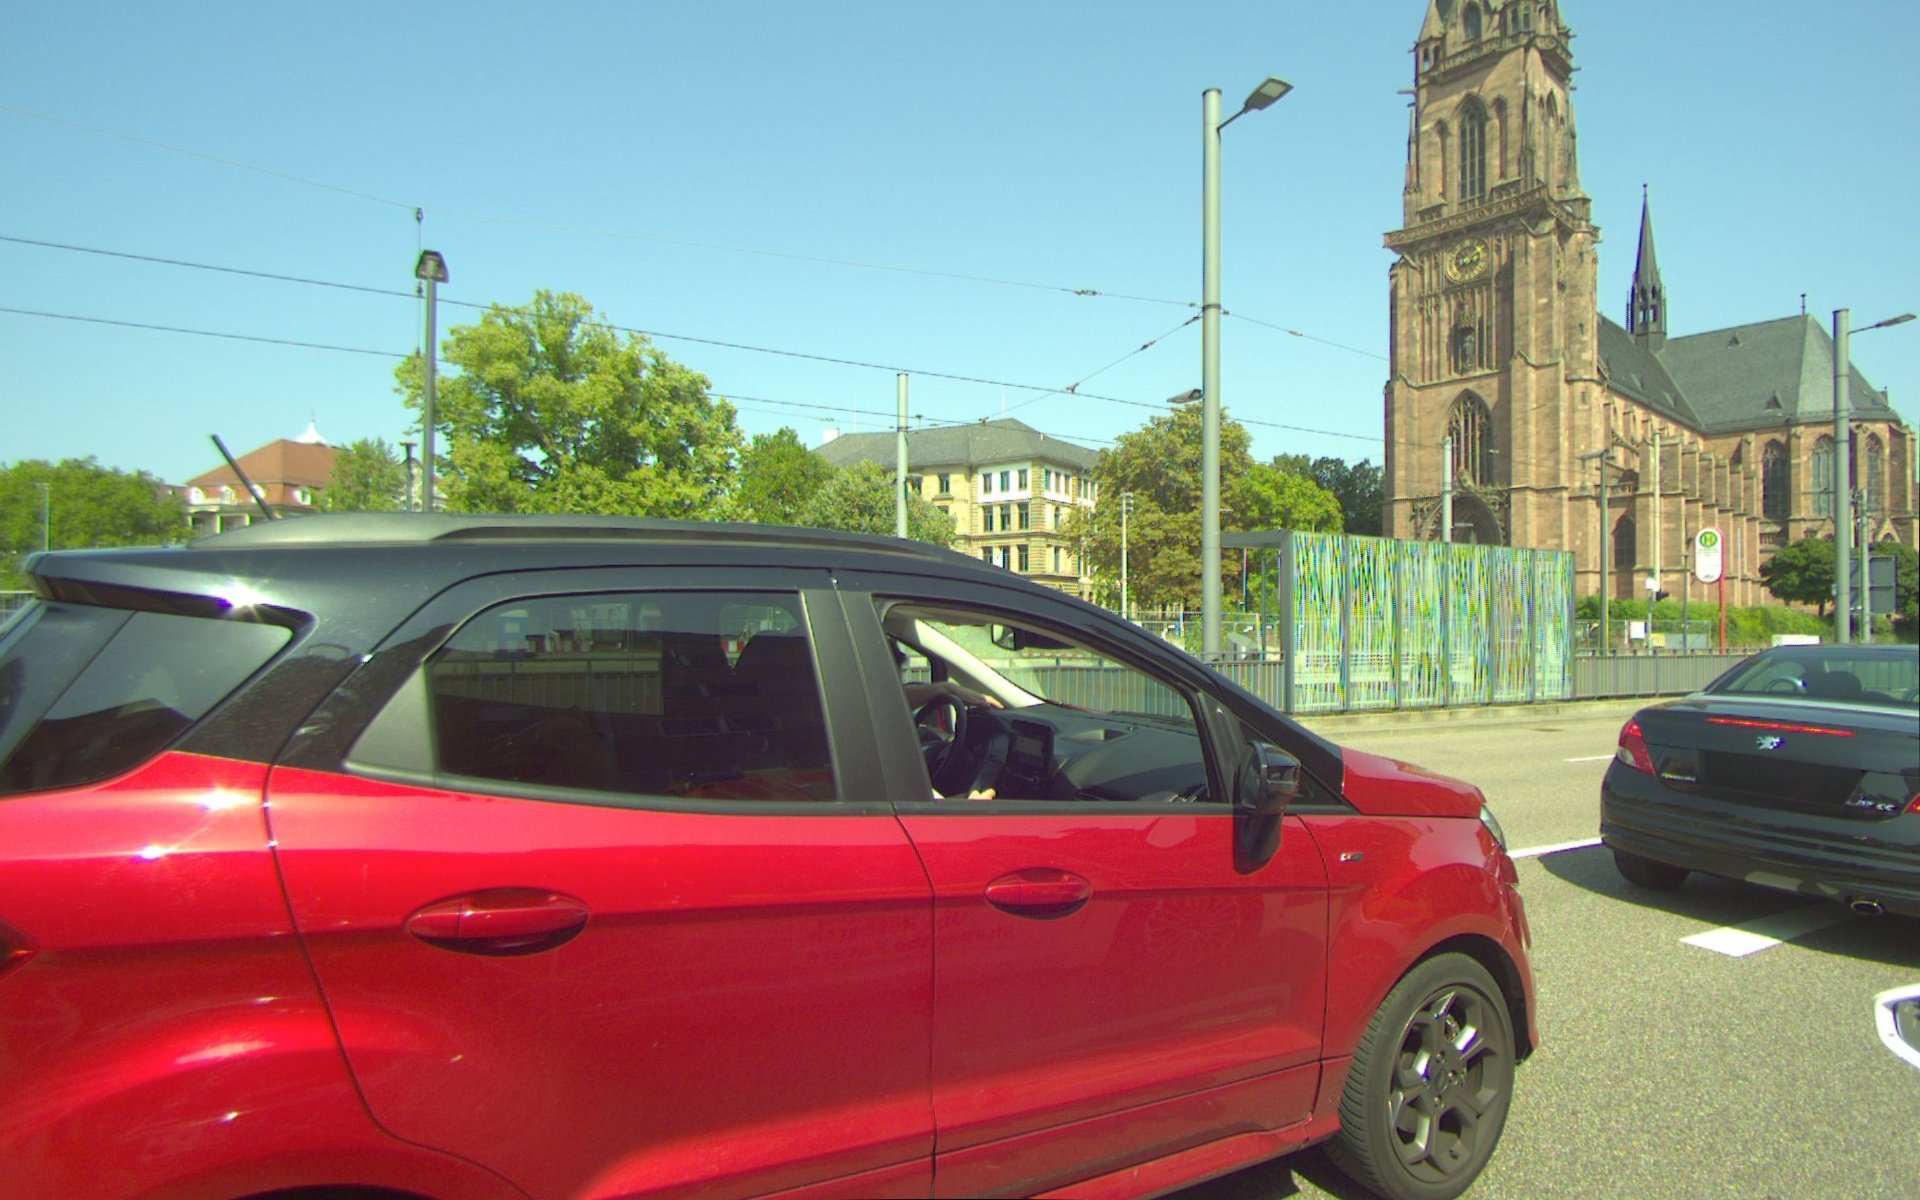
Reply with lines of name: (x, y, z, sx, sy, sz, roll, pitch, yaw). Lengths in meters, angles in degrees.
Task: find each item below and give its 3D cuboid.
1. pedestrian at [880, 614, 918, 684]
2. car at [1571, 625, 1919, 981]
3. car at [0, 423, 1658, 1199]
pedestrian: (-1.611, 1.275, 26.547, 0.752, 1.811, 0.740, 1, -1, -29)
car: (5.320, 0.892, 5.595, 3.756, 1.432, 1.680, 1, 0, -30)
car: (-0.129, 0.649, 2.623, 3.919, 1.642, 1.623, 1, 0, -29)
